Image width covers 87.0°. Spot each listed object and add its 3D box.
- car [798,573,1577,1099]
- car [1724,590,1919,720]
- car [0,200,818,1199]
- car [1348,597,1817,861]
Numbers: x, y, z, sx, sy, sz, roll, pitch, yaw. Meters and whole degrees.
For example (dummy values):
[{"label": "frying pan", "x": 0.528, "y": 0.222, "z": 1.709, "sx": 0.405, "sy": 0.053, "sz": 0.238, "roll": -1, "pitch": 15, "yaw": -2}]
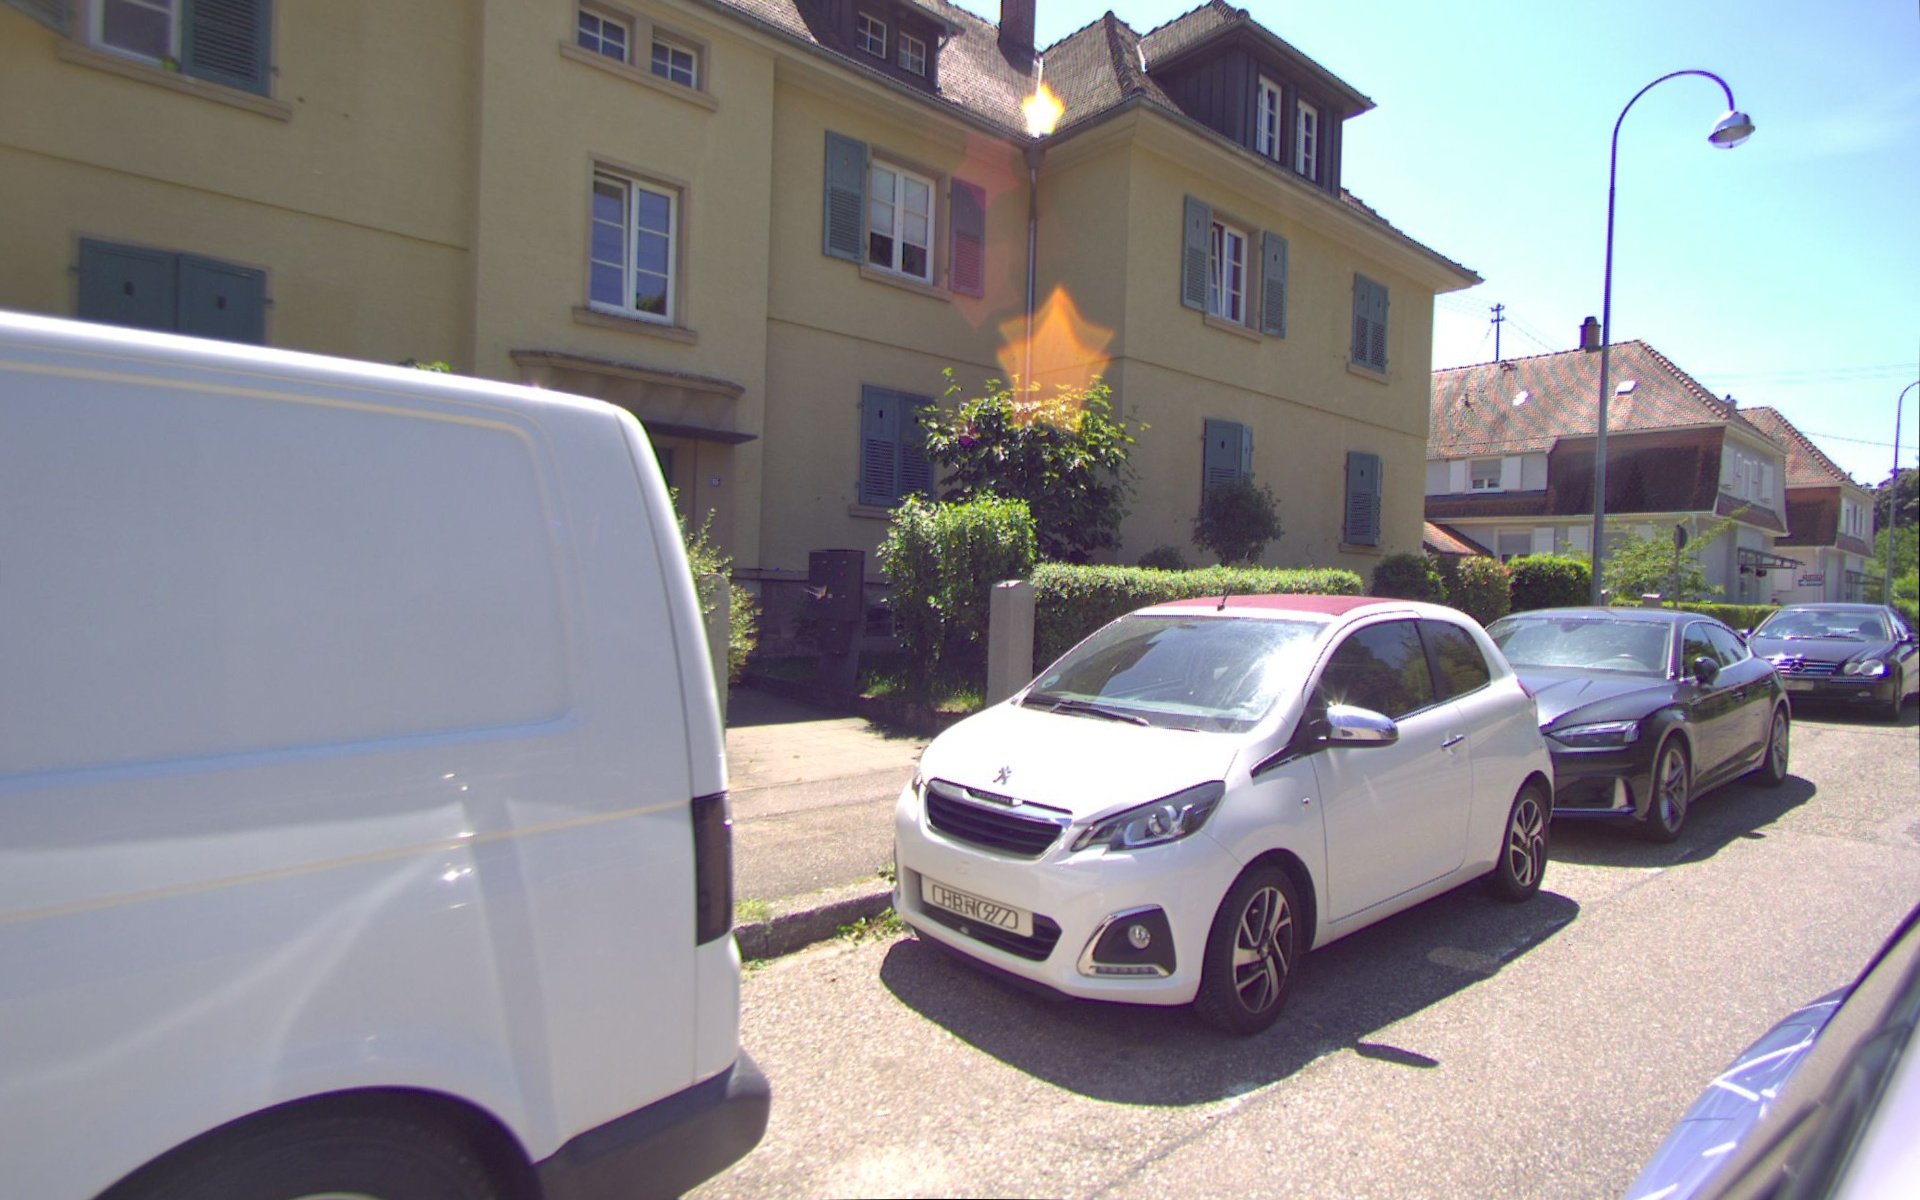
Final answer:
[{"label": "car", "x": 1.255, "y": 0.647, "z": 4.688, "sx": 3.585, "sy": 1.470, "sz": 1.764, "roll": 0, "pitch": 1, "yaw": -42}, {"label": "car", "x": 11.903, "y": 0.605, "z": 13.629, "sx": 4.472, "sy": 1.436, "sz": 1.696, "roll": -1, "pitch": 1, "yaw": -41}, {"label": "car", "x": -2.727, "y": 0.467, "z": 1.282, "sx": 4.738, "sy": 1.925, "sz": 1.997, "roll": 0, "pitch": -1, "yaw": -41}, {"label": "car", "x": 4.862, "y": 0.693, "z": 7.593, "sx": 4.527, "sy": 1.388, "sz": 1.764, "roll": 0, "pitch": 1, "yaw": -42}]
